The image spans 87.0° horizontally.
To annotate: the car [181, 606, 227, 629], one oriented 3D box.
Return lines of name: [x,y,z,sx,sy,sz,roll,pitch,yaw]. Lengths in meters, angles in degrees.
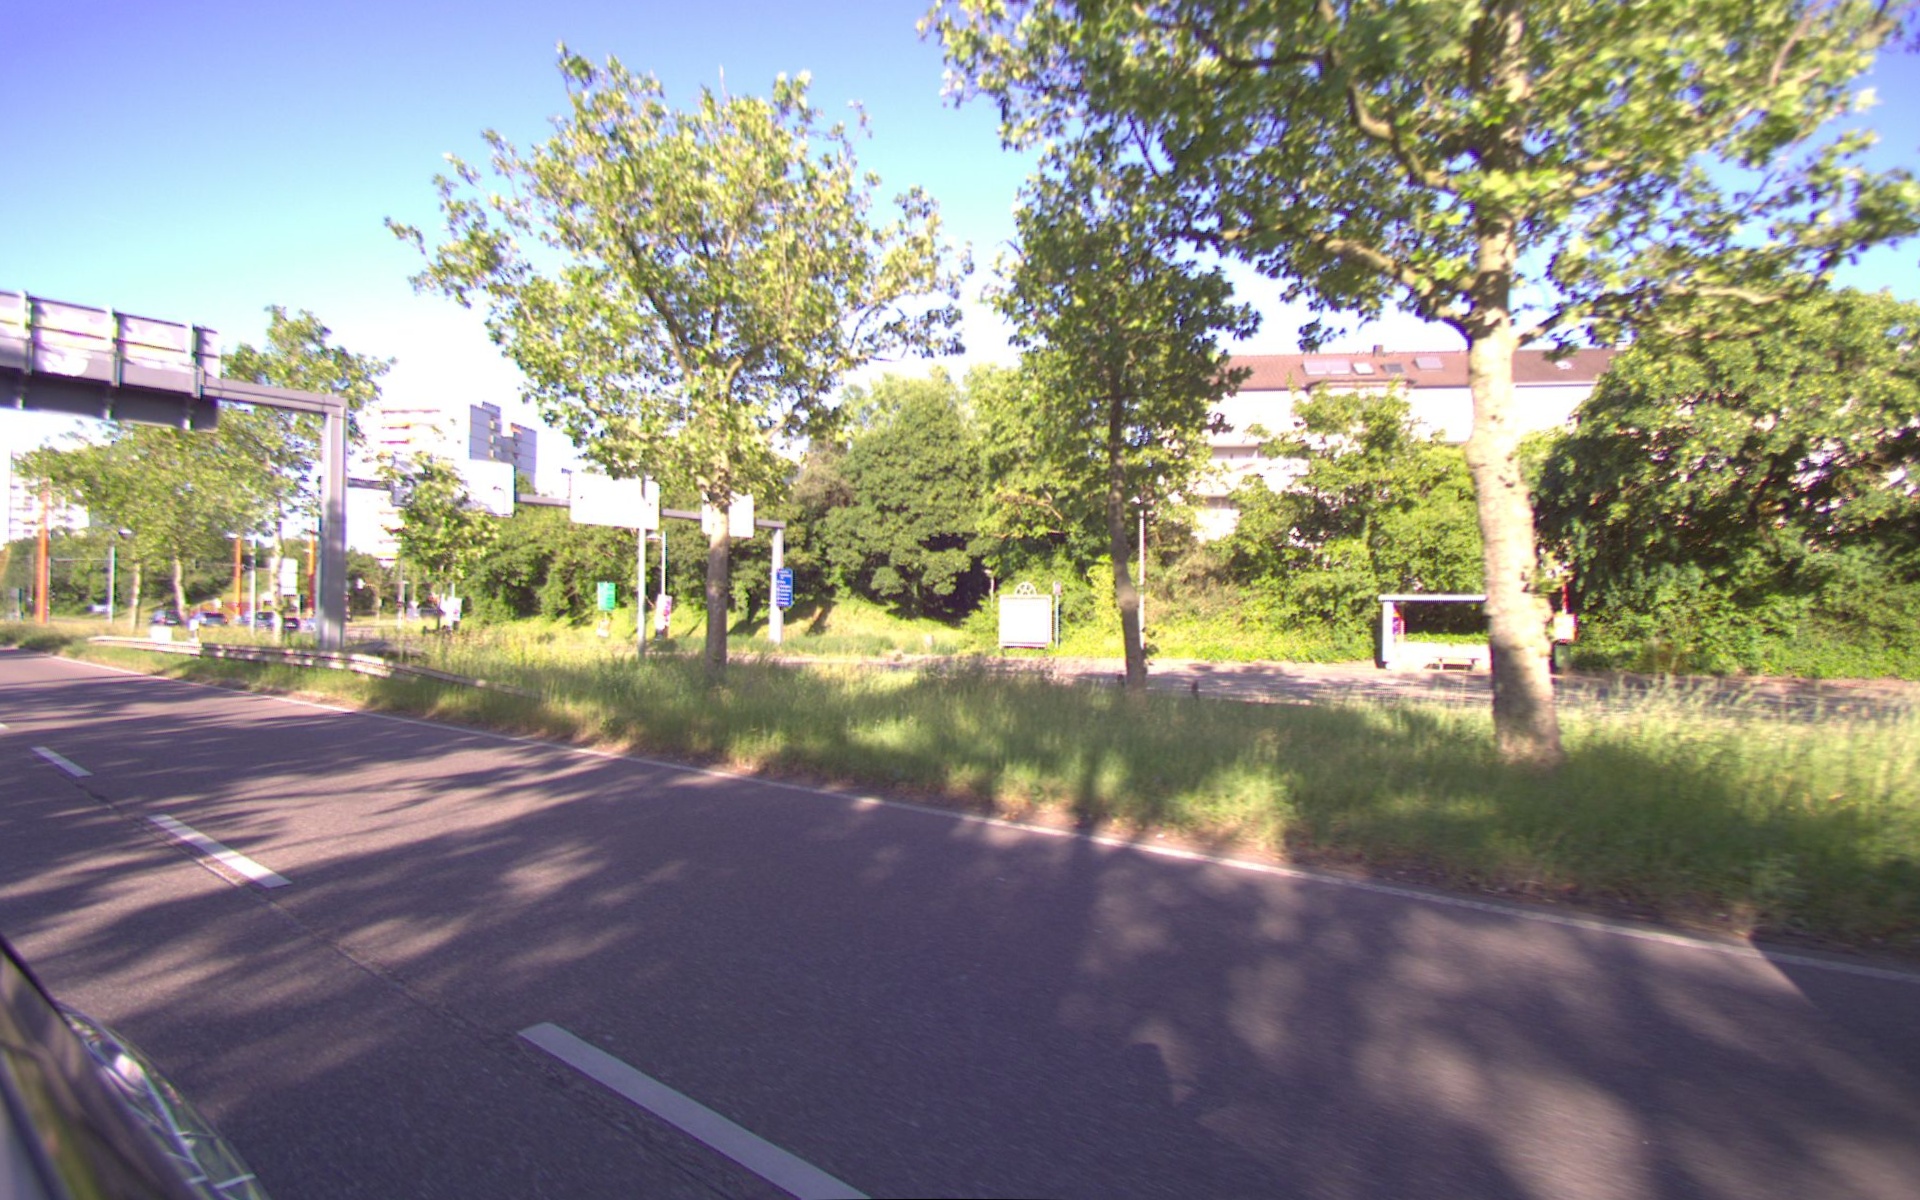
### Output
car: [-58.608,1.359,78.450,4.562,1.623,1.879,-1,-3,41]

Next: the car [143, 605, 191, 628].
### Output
car: [-57.955,1.183,73.915,4.562,1.577,1.879,-1,-3,41]

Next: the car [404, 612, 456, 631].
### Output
car: [-61.689,2.502,117.878,2.025,2.221,5.627,-1,-1,18]

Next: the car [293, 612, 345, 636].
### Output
car: [-46.351,1.755,73.203,4.562,1.623,1.879,-1,-3,41]

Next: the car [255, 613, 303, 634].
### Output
car: [-52.151,1.787,77.448,4.562,1.485,1.879,-1,-3,41]

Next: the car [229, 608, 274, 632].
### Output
car: [-57.152,1.633,81.624,4.444,1.789,1.879,-1,-3,41]
